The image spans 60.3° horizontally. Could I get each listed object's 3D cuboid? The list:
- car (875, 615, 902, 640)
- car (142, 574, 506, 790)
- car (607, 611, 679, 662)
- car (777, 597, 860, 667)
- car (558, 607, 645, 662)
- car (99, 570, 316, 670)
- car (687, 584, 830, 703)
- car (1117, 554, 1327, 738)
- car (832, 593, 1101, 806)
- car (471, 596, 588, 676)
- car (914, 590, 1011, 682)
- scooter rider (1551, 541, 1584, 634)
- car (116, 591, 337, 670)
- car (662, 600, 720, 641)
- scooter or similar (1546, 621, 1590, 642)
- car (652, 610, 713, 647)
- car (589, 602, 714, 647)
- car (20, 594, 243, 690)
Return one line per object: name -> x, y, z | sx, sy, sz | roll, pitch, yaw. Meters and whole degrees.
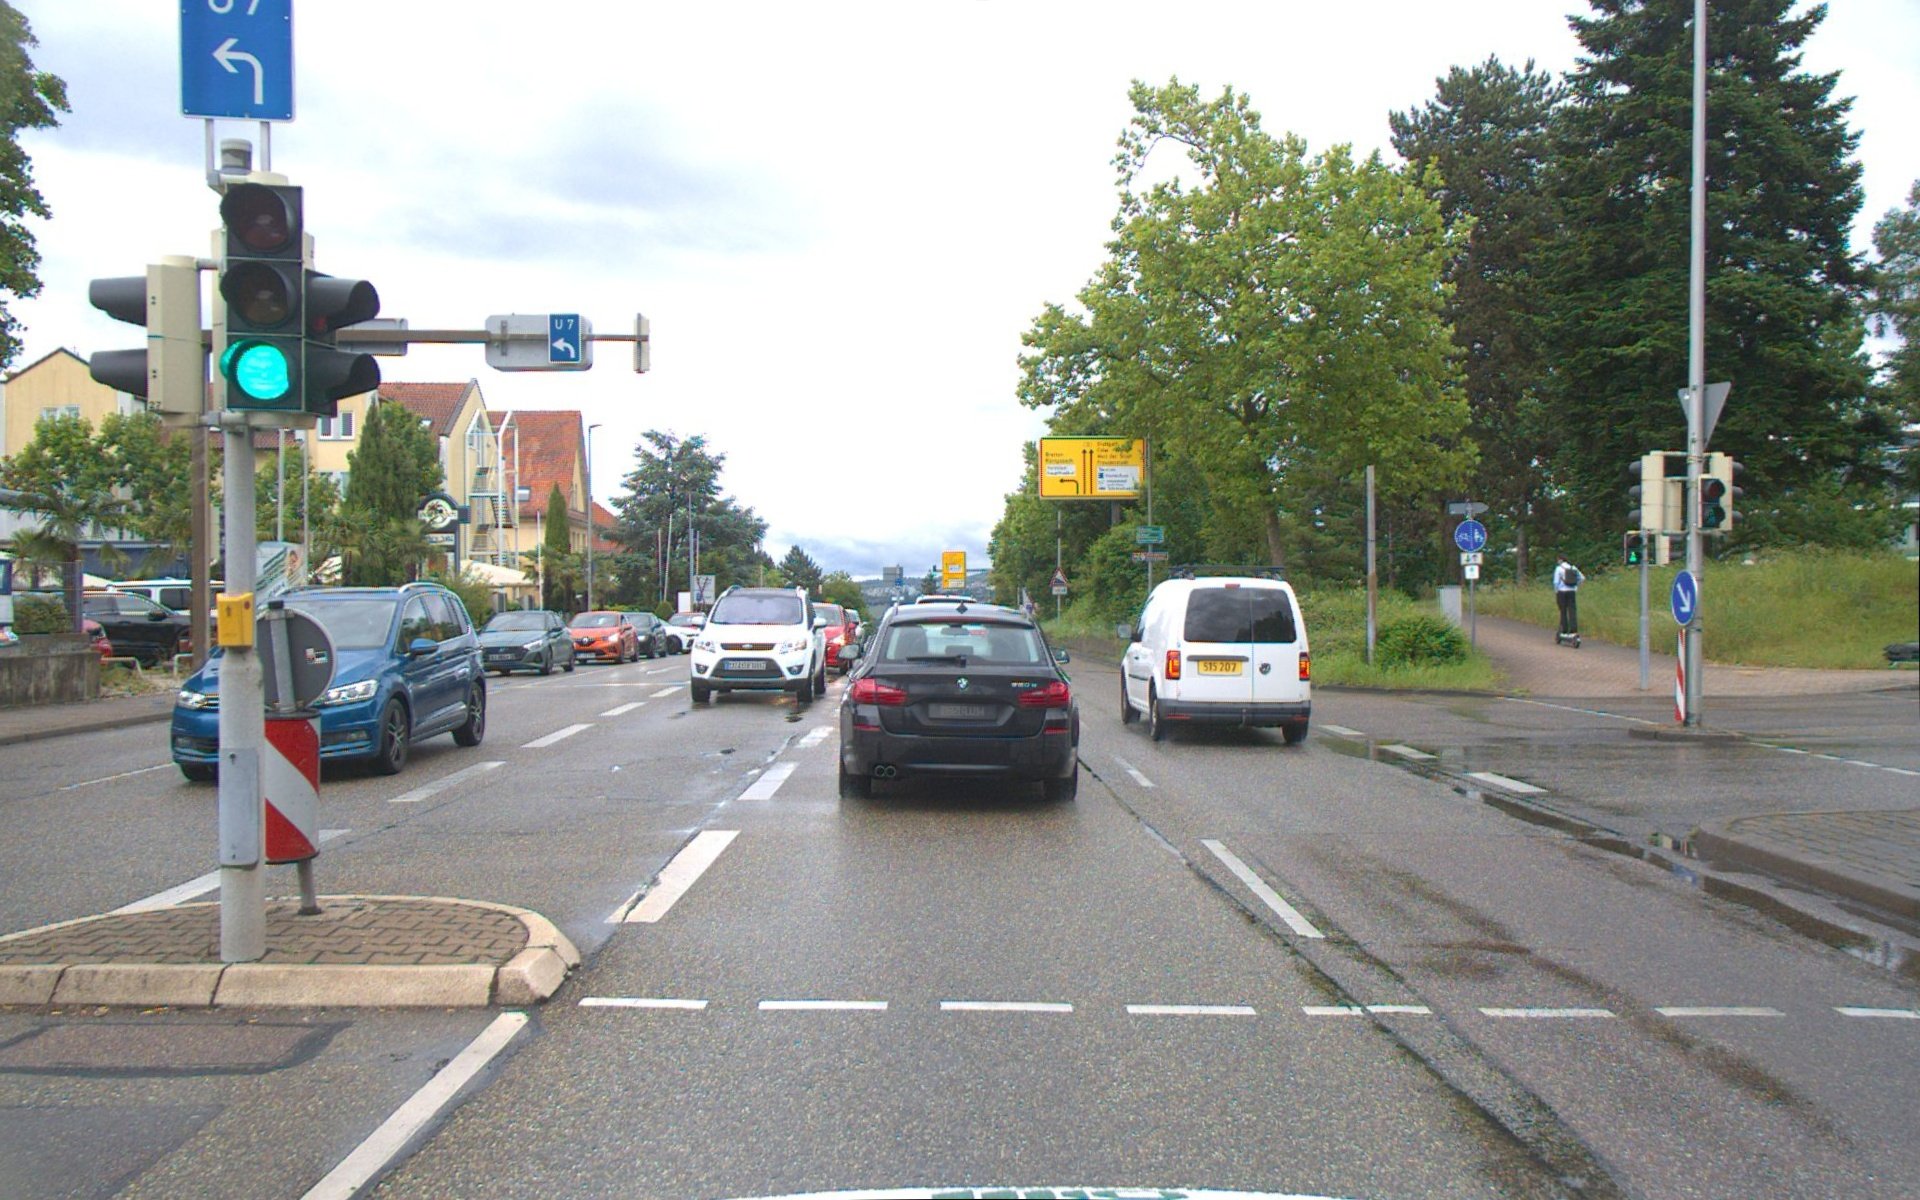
car -> -5.317, 2.034, 122.727 | 1.830, 1.703, 4.000 | 1, 1, -1
car -> -5.684, 0.640, 15.408 | 1.802, 1.678, 4.296 | -2, 0, -2
car -> -9.965, 1.129, 52.251 | 1.570, 1.424, 4.403 | -2, 0, -3
car -> -3.098, 0.701, 36.727 | 1.599, 1.459, 4.142 | 0, -1, -2
car -> -9.781, 0.900, 45.339 | 1.590, 1.355, 3.945 | -1, 1, -2
car -> -17.139, 0.421, 37.699 | 4.339, 2.049, 1.980 | -2, 0, -30
car -> -3.021, 0.601, 25.564 | 1.802, 1.678, 4.296 | 0, 0, -2
car -> 2.946, 0.461, 19.320 | 1.729, 1.910, 3.804 | 1, 1, -2
car -> 0.026, 0.718, 13.558 | 1.860, 1.467, 3.999 | 1, -1, -1
car -> -9.722, 0.765, 37.609 | 1.642, 1.646, 3.999 | -1, 1, -1
car -> 0.025, 0.673, 33.445 | 1.830, 1.703, 4.000 | 1, 1, -1
scooter rider -> 13.268, -0.272, 36.133 | 0.490, 2.000, 0.547 | 0, 0, -1
car -> -18.498, 0.760, 41.749 | 4.942, 1.732, 1.980 | -2, -2, -29
car -> -10.747, 0.793, 66.271 | 1.734, 1.596, 3.999 | 0, 0, -1
scooter or similar -> 13.276, 0.684, 36.115 | 0.477, 0.410, 1.255 | 0, 1, -1
car -> -9.837, 0.989, 58.750 | 1.590, 1.169, 3.854 | -1, 1, -2
car -> -10.713, 0.853, 57.534 | 3.945, 1.503, 1.644 | -1, -1, 8
car -> -14.110, 0.726, 28.158 | 3.537, 1.530, 1.663 | -2, -1, 28
